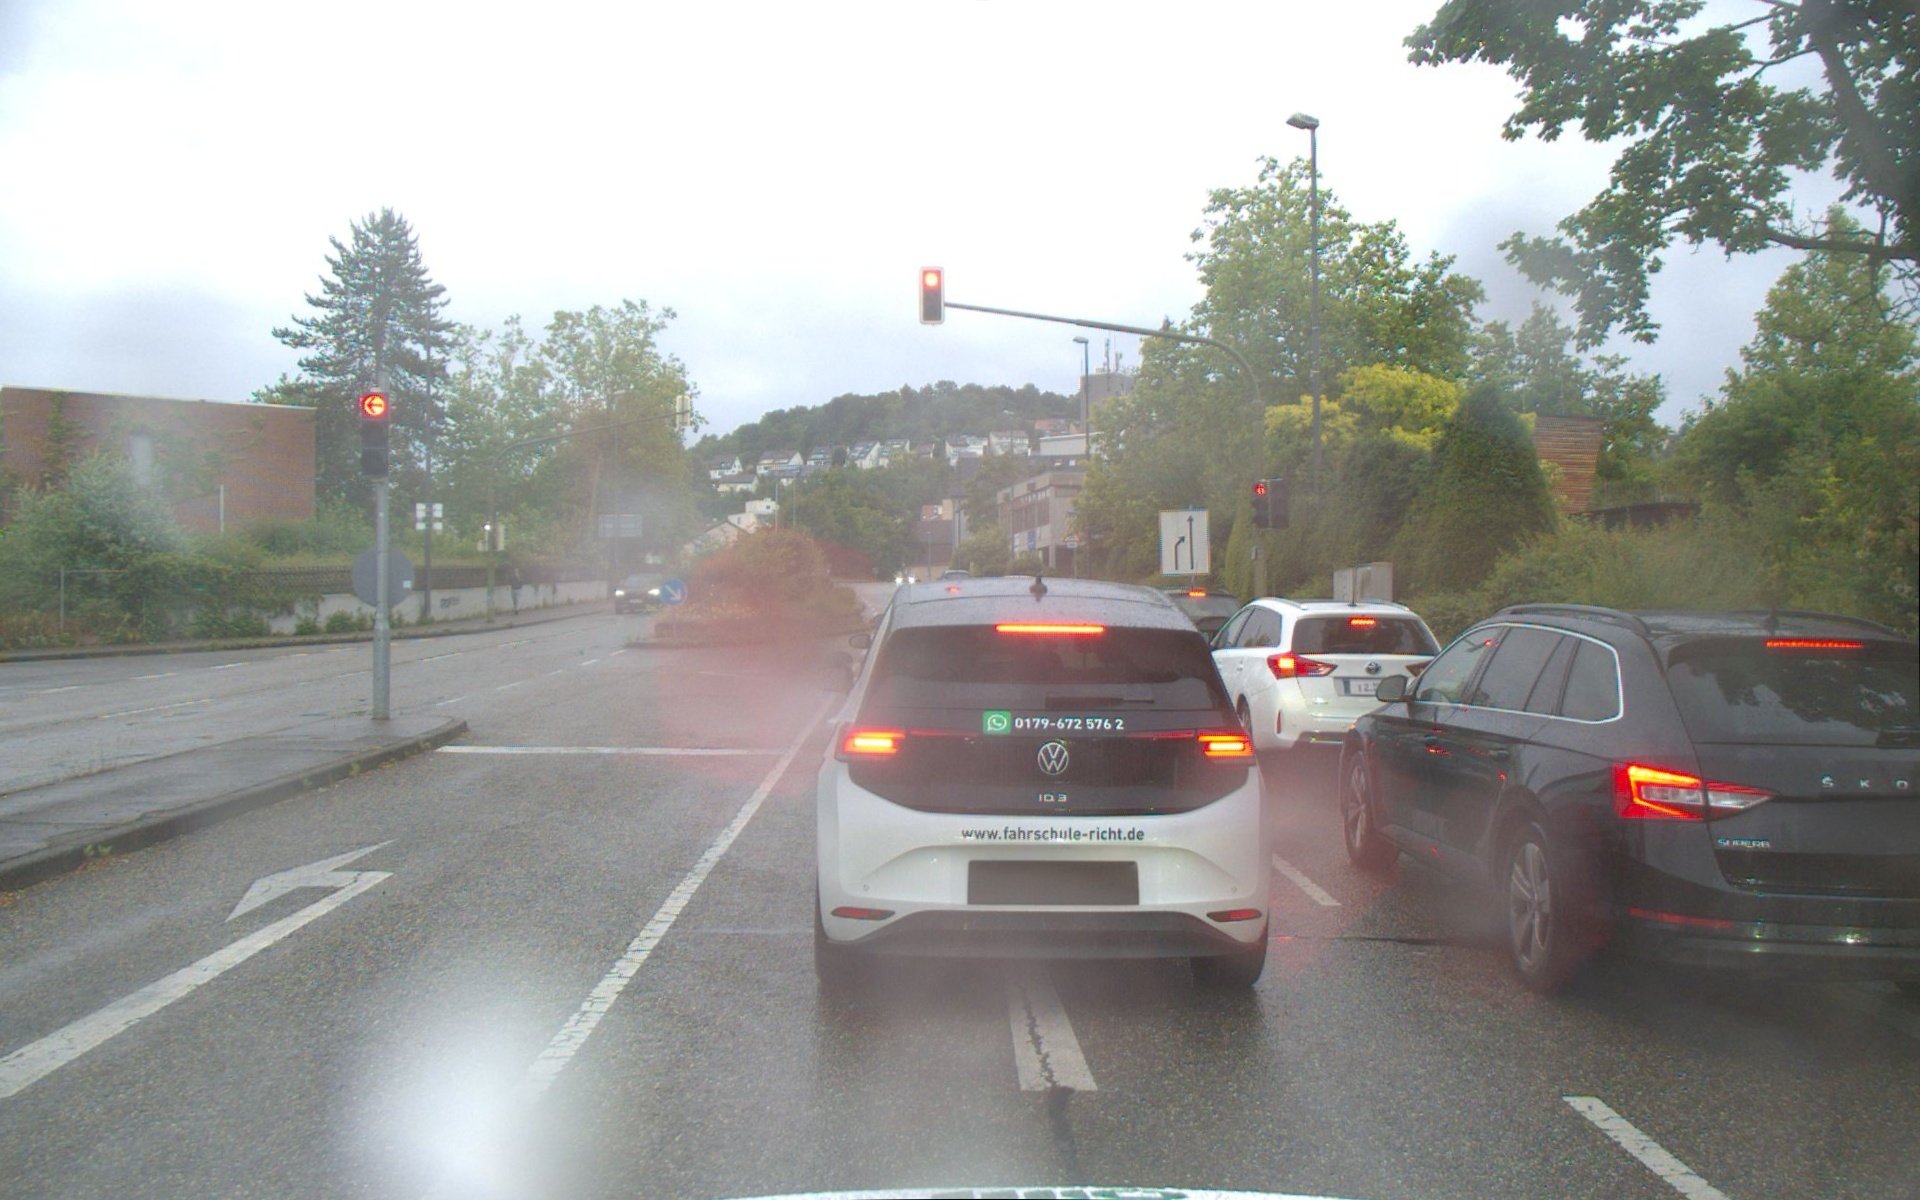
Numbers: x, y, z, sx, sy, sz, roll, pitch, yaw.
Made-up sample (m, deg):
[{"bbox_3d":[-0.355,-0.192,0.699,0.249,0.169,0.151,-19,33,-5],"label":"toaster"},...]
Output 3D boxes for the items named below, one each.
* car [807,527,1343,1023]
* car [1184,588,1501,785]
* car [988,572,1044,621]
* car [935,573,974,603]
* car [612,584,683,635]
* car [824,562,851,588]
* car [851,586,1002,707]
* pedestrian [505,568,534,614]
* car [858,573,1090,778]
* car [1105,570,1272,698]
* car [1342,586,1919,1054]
[{"bbox_3d":[0.344,0.578,7.964,1.800,1.657,4.614,1,1,-1],"label":"car"},{"bbox_3d":[3.278,0.663,15.006,1.800,1.492,4.116,1,1,-1],"label":"car"},{"bbox_3d":[1.778,-0.112,53.452,1.549,1.492,3.998,-1,0,-2],"label":"car"},{"bbox_3d":[-0.298,-0.623,83.492,1.726,1.443,3.747,-1,1,-3],"label":"car"},{"bbox_3d":[-12.107,0.364,64.254,1.953,1.836,3.999,-3,0,-1],"label":"car"},{"bbox_3d":[-10.347,-2.079,140.070,1.953,2.049,3.999,1,-1,-1],"label":"car"},{"bbox_3d":[-0.452,0.549,21.979,1.800,1.424,3.830,1,1,-1],"label":"car"},{"bbox_3d":[-15.686,-0.320,58.890,0.744,1.595,0.825,-2,0,-2],"label":"pedestrian"},{"bbox_3d":[0.064,0.579,15.200,1.800,1.582,4.174,1,1,-1],"label":"car"},{"bbox_3d":[3.134,0.443,23.426,1.739,1.609,3.999,1,0,-1],"label":"car"},{"bbox_3d":[3.138,0.708,7.551,1.800,1.492,4.350,1,1,1],"label":"car"}]
